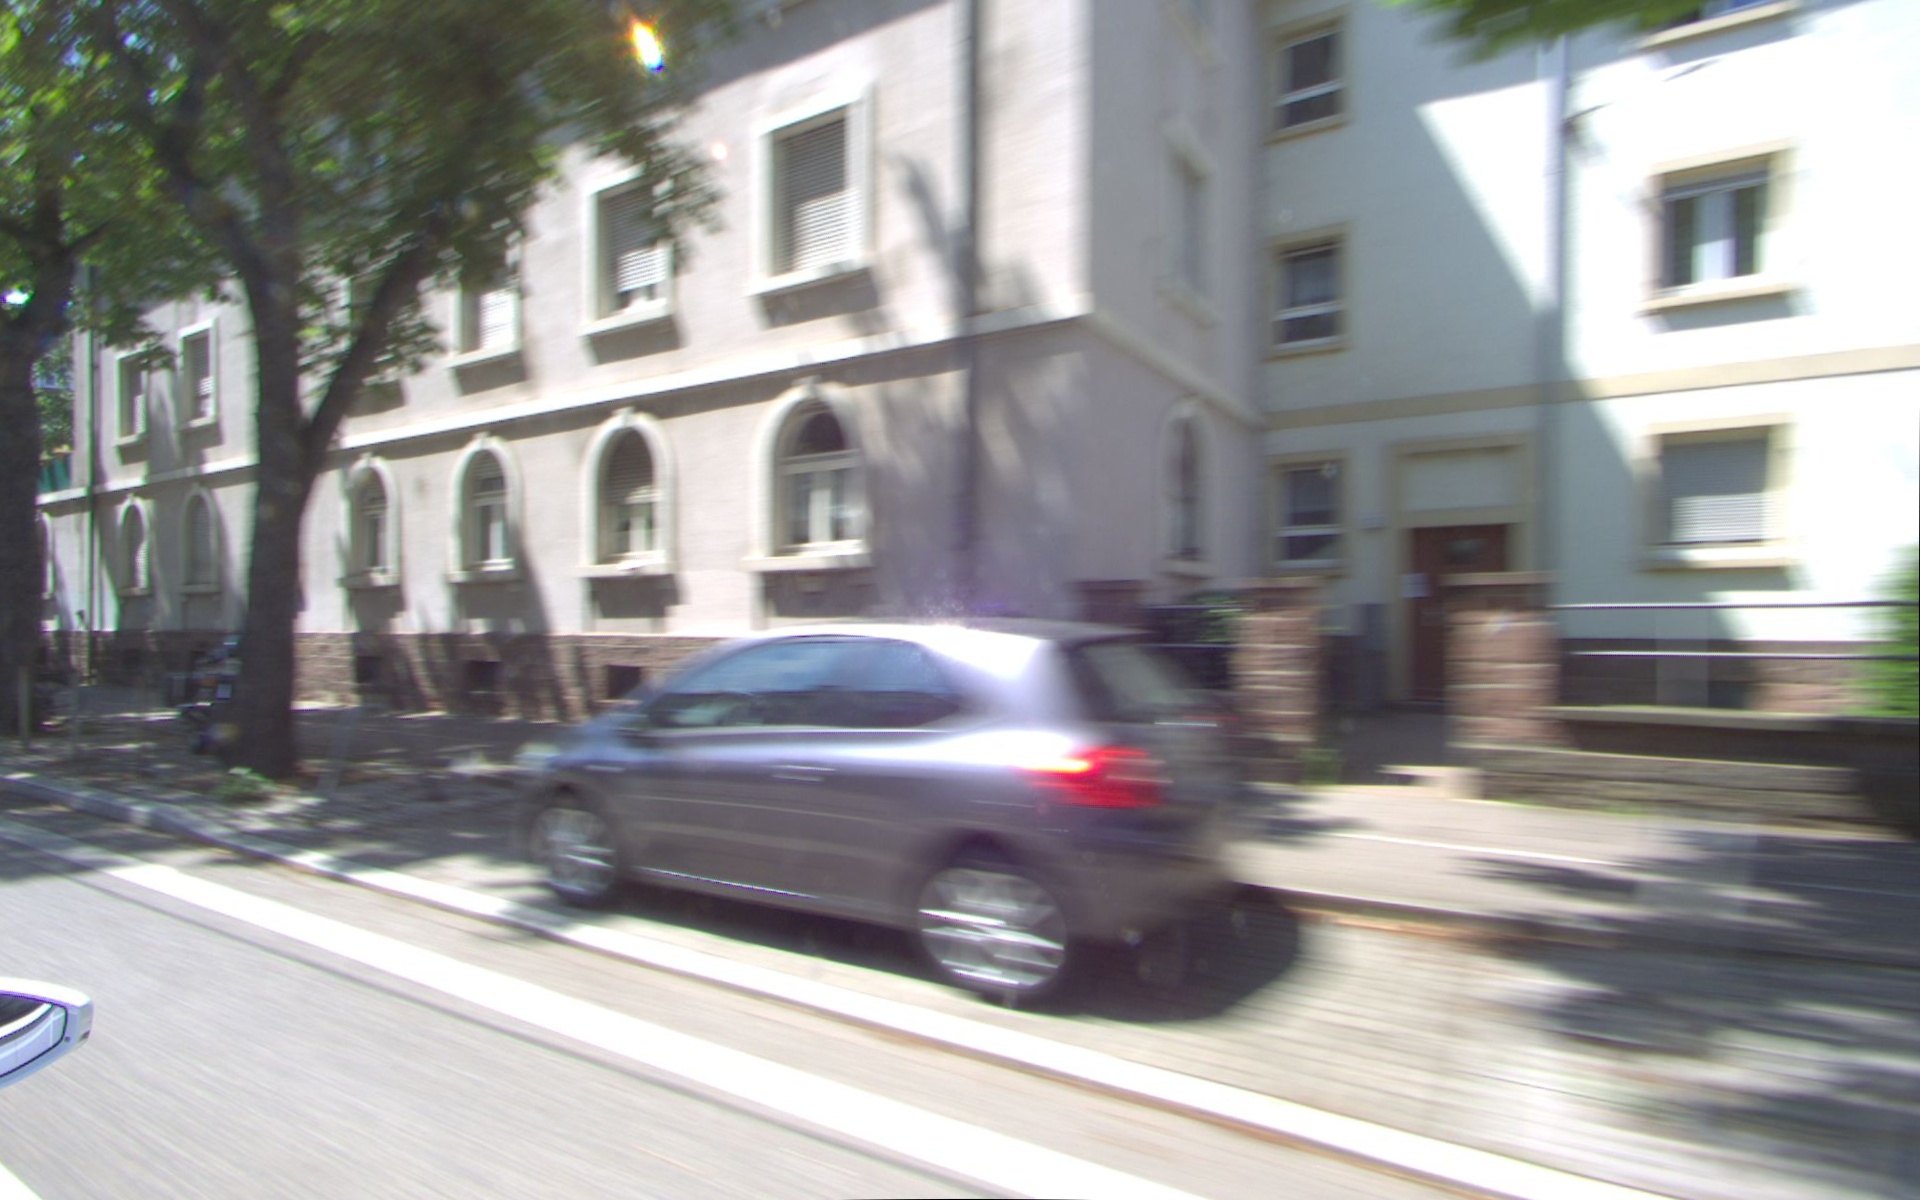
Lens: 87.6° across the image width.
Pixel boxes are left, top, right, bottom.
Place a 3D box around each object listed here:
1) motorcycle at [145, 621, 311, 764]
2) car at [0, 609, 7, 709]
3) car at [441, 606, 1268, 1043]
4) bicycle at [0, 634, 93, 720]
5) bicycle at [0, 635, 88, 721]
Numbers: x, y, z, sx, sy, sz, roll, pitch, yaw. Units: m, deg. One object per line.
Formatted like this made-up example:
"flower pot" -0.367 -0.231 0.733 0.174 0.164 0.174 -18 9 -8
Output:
"motorcycle" -7.686 0.881 10.468 2.353 1.316 0.991 0 -1 43
"car" -16.046 0.911 15.018 3.755 1.467 1.618 -1 1 32
"car" -0.709 0.802 5.393 4.242 1.521 1.771 0 0 31
"bicycle" -12.485 0.986 12.870 0.591 1.077 1.955 -1 -1 39
"bicycle" -12.263 0.986 12.598 0.531 1.065 1.882 -1 -1 39
